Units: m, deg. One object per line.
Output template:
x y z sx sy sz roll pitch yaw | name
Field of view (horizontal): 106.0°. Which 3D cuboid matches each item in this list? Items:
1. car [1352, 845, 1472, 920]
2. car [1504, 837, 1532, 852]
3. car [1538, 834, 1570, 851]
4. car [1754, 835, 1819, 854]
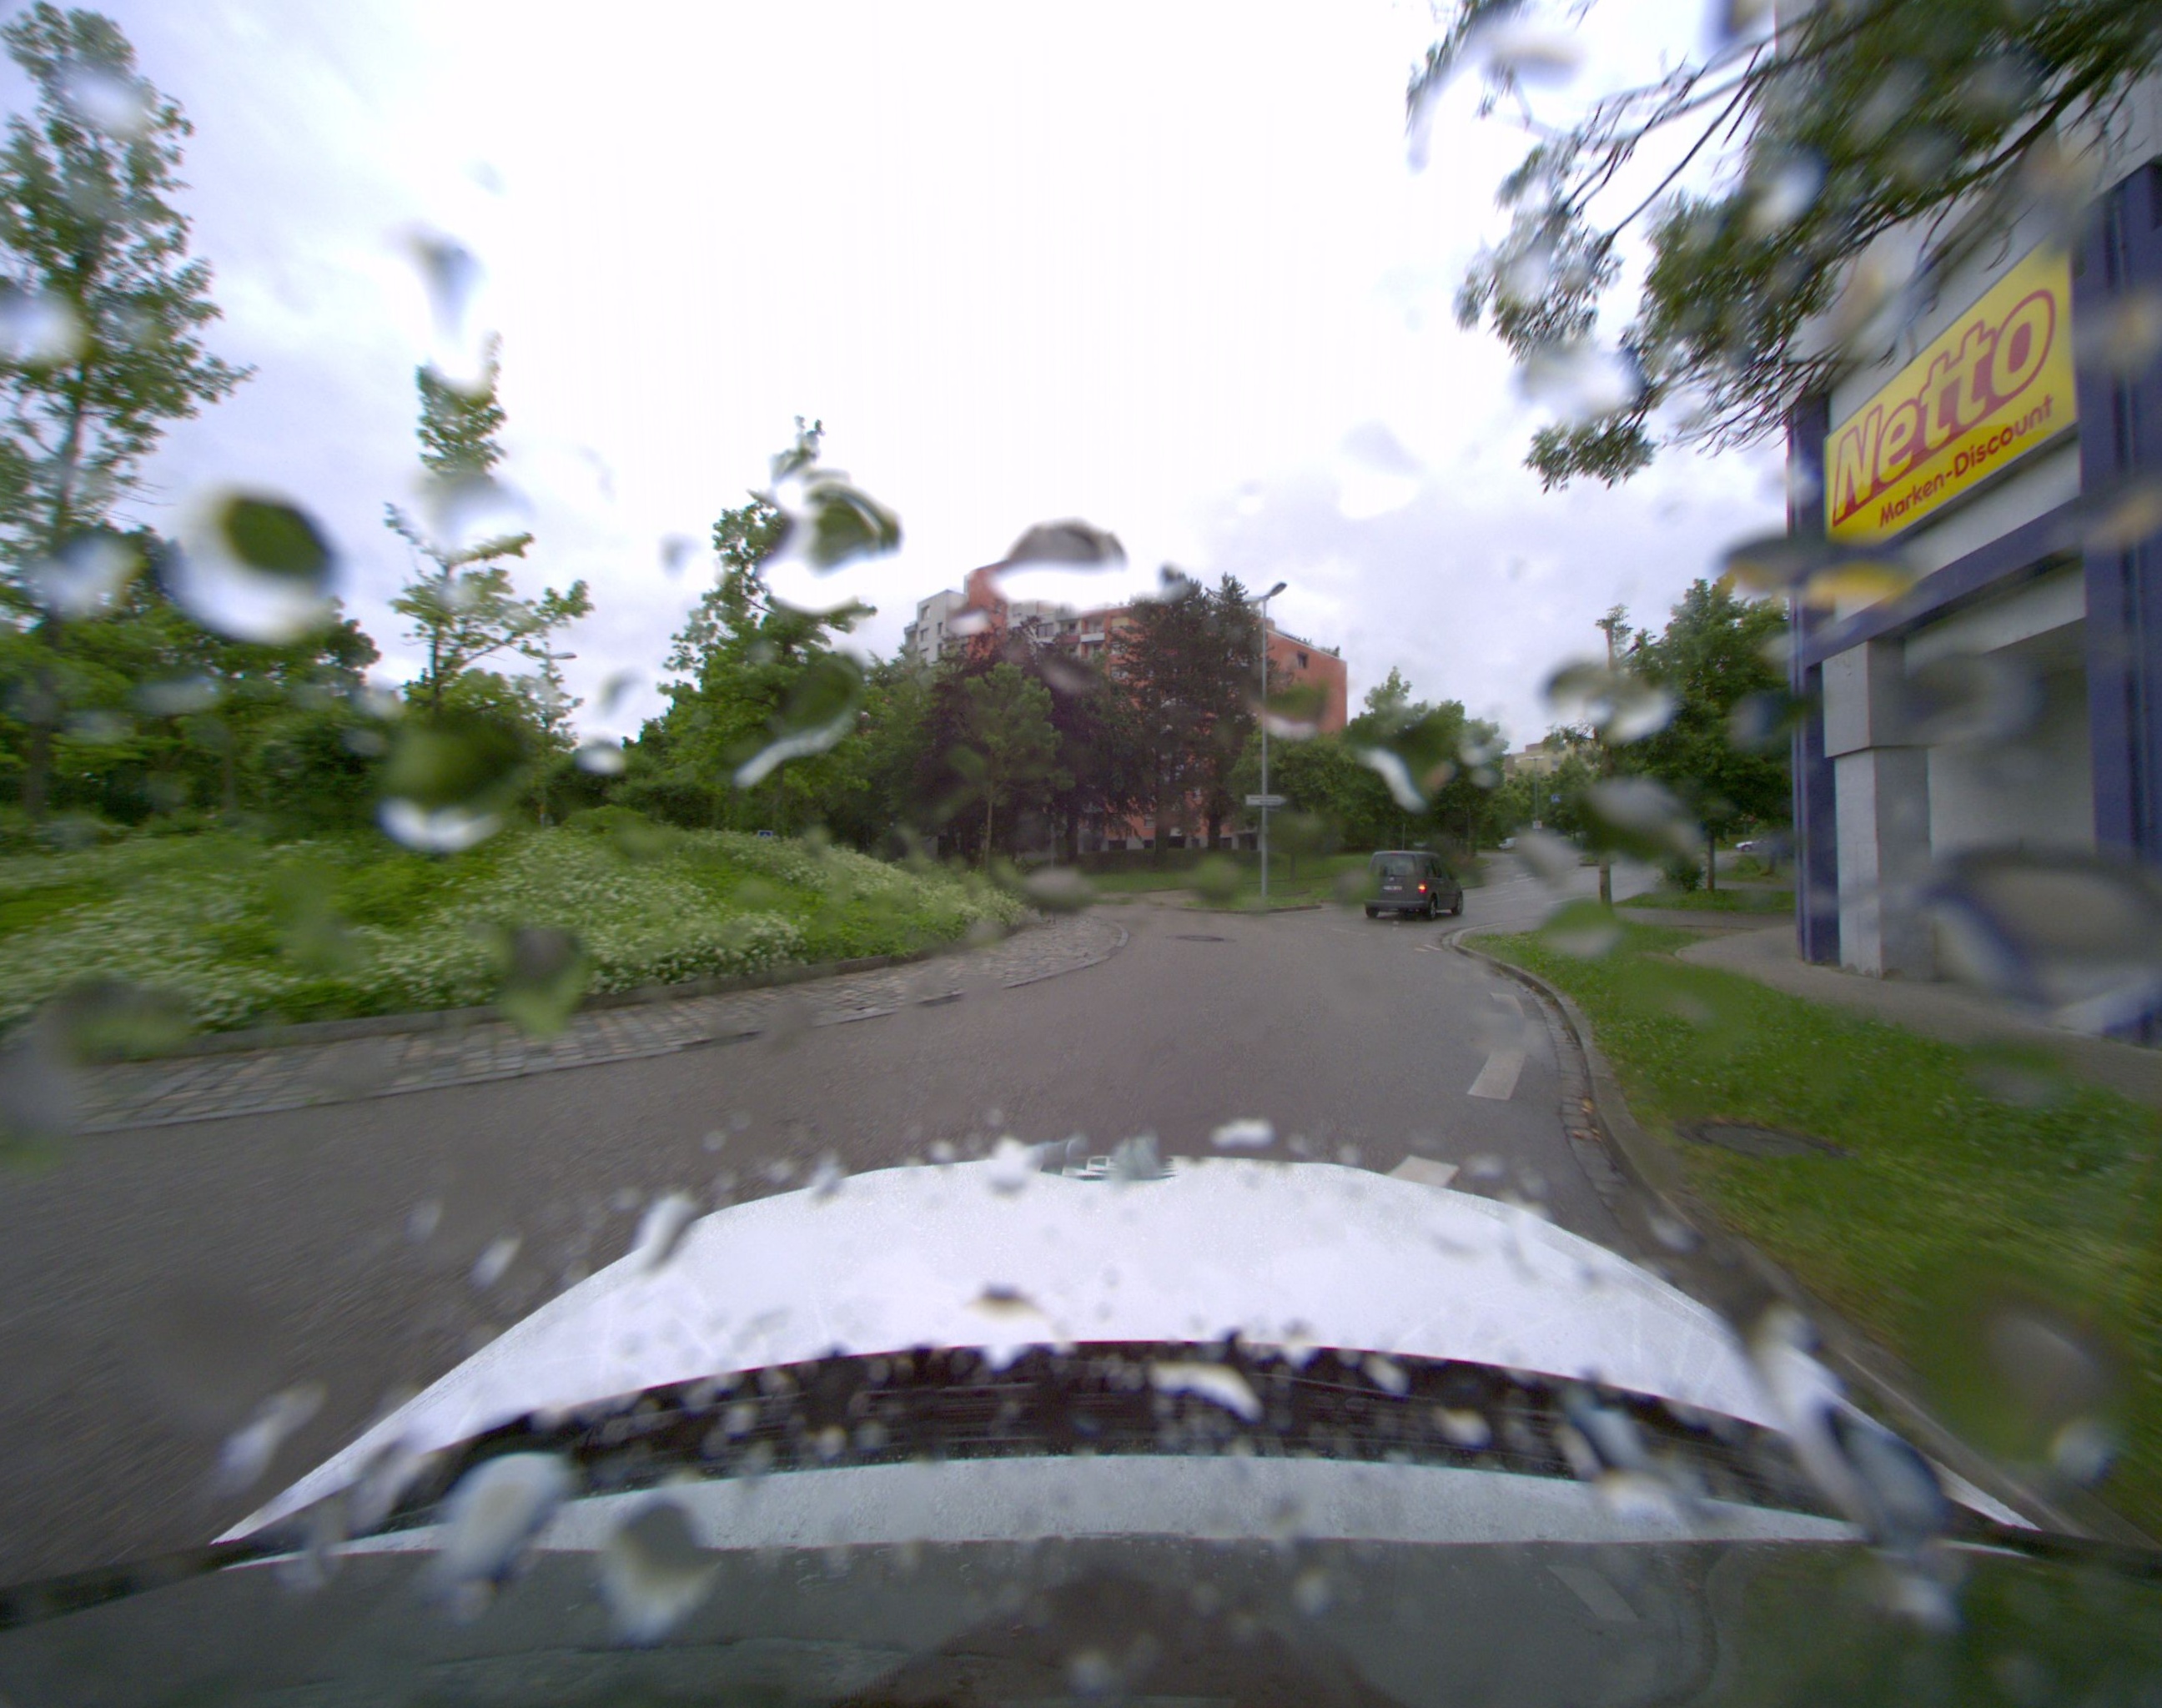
9.256 0.717 22.607 1.900 1.801 3.813 -1 1 41 | car
57.837 -1.233 107.875 1.983 1.873 4.008 0 -1 7 | car
57.378 -1.376 98.882 1.837 1.873 3.867 0 -1 5 | car
60.860 -0.770 70.308 3.948 1.565 1.898 0 -1 32 | car
